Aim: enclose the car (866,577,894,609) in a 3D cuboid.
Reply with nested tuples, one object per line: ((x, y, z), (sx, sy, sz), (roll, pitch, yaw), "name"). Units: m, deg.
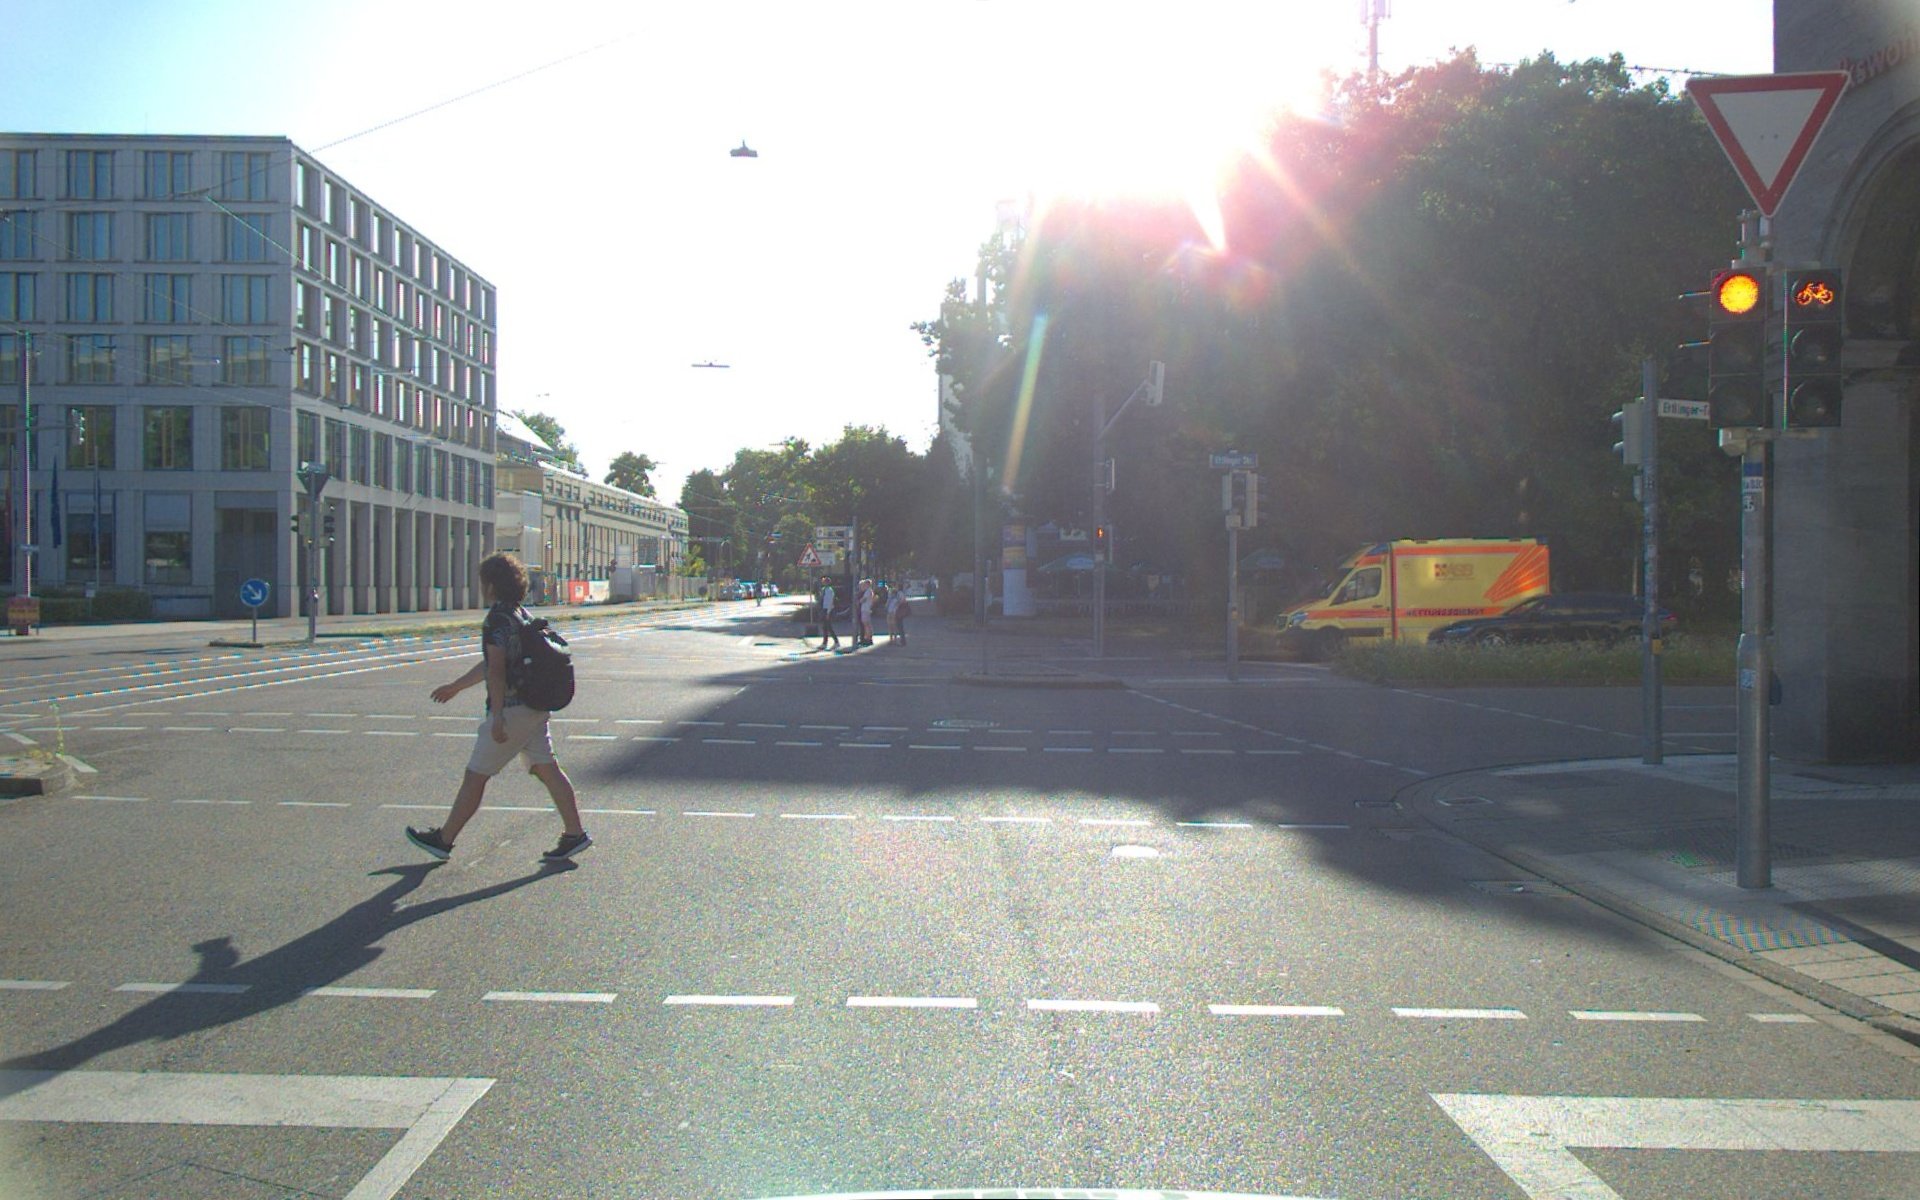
((-5.172, -0.440, 107.550), (1.650, 1.996, 3.508), (2, -1, -1), "car")

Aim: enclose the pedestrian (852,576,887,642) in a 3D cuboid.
((-2.543, 0.253, 46.400), (0.834, 1.815, 0.776), (0, 0, -17), "pedestrian")

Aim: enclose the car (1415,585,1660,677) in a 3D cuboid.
((11.500, 0.614, 33.111), (4.226, 1.676, 1.887), (2, -1, -1), "car")

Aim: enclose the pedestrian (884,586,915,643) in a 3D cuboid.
((-1.711, 0.414, 46.524), (0.750, 1.586, 0.585), (0, 0, -17), "pedestrian")

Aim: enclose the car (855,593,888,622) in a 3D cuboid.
((-4.923, 0.430, 91.925), (1.650, 1.527, 3.508), (2, -1, -1), "car")

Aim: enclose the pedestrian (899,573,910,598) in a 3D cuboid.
((-8.251, -2.161, 245.774), (1.373, 3.660, 1.567), (2, -1, -1), "pedestrian")

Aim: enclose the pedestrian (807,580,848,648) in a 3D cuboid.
((-3.599, 0.375, 44.805), (0.950, 1.815, 0.776), (0, 0, -17), "pedestrian")

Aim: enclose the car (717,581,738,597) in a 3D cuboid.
((-22.435, -1.043, 159.722), (1.577, 1.525, 3.805), (0, 0, -1), "car")

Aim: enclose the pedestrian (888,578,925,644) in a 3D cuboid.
((-1.484, 0.291, 45.812), (0.834, 1.815, 0.776), (0, 0, -17), "pedestrian")

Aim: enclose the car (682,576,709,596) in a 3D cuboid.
((-23.025, -1.217, 144.002), (1.782, 1.742, 3.805), (0, 0, -1), "car")

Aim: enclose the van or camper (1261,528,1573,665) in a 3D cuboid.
((10.575, -0.070, 38.837), (6.568, 2.912, 2.912), (2, -1, 3), "van or camper")

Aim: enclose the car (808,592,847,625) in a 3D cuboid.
((-6.523, 0.431, 81.742), (1.650, 1.527, 3.508), (2, -1, -1), "car")

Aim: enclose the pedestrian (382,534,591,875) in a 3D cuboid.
((-2.567, 0.533, 9.104), (1.021, 1.751, 1.032), (0, 0, -12), "pedestrian")

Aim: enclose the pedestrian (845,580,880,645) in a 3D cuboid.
((-2.793, 0.350, 47.186), (0.834, 1.815, 0.776), (0, 0, -17), "pedestrian")

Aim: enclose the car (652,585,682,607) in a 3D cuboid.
((-23.539, -0.355, 133.101), (1.782, 1.742, 3.805), (0, 0, -1), "car")

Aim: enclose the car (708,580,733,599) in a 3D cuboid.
((-22.517, -0.943, 155.472), (1.782, 1.742, 3.805), (0, 0, -1), "car")

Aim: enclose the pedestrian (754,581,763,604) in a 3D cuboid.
((-13.567, -0.518, 111.273), (0.513, 1.510, 0.437), (2, -1, -2), "pedestrian")
